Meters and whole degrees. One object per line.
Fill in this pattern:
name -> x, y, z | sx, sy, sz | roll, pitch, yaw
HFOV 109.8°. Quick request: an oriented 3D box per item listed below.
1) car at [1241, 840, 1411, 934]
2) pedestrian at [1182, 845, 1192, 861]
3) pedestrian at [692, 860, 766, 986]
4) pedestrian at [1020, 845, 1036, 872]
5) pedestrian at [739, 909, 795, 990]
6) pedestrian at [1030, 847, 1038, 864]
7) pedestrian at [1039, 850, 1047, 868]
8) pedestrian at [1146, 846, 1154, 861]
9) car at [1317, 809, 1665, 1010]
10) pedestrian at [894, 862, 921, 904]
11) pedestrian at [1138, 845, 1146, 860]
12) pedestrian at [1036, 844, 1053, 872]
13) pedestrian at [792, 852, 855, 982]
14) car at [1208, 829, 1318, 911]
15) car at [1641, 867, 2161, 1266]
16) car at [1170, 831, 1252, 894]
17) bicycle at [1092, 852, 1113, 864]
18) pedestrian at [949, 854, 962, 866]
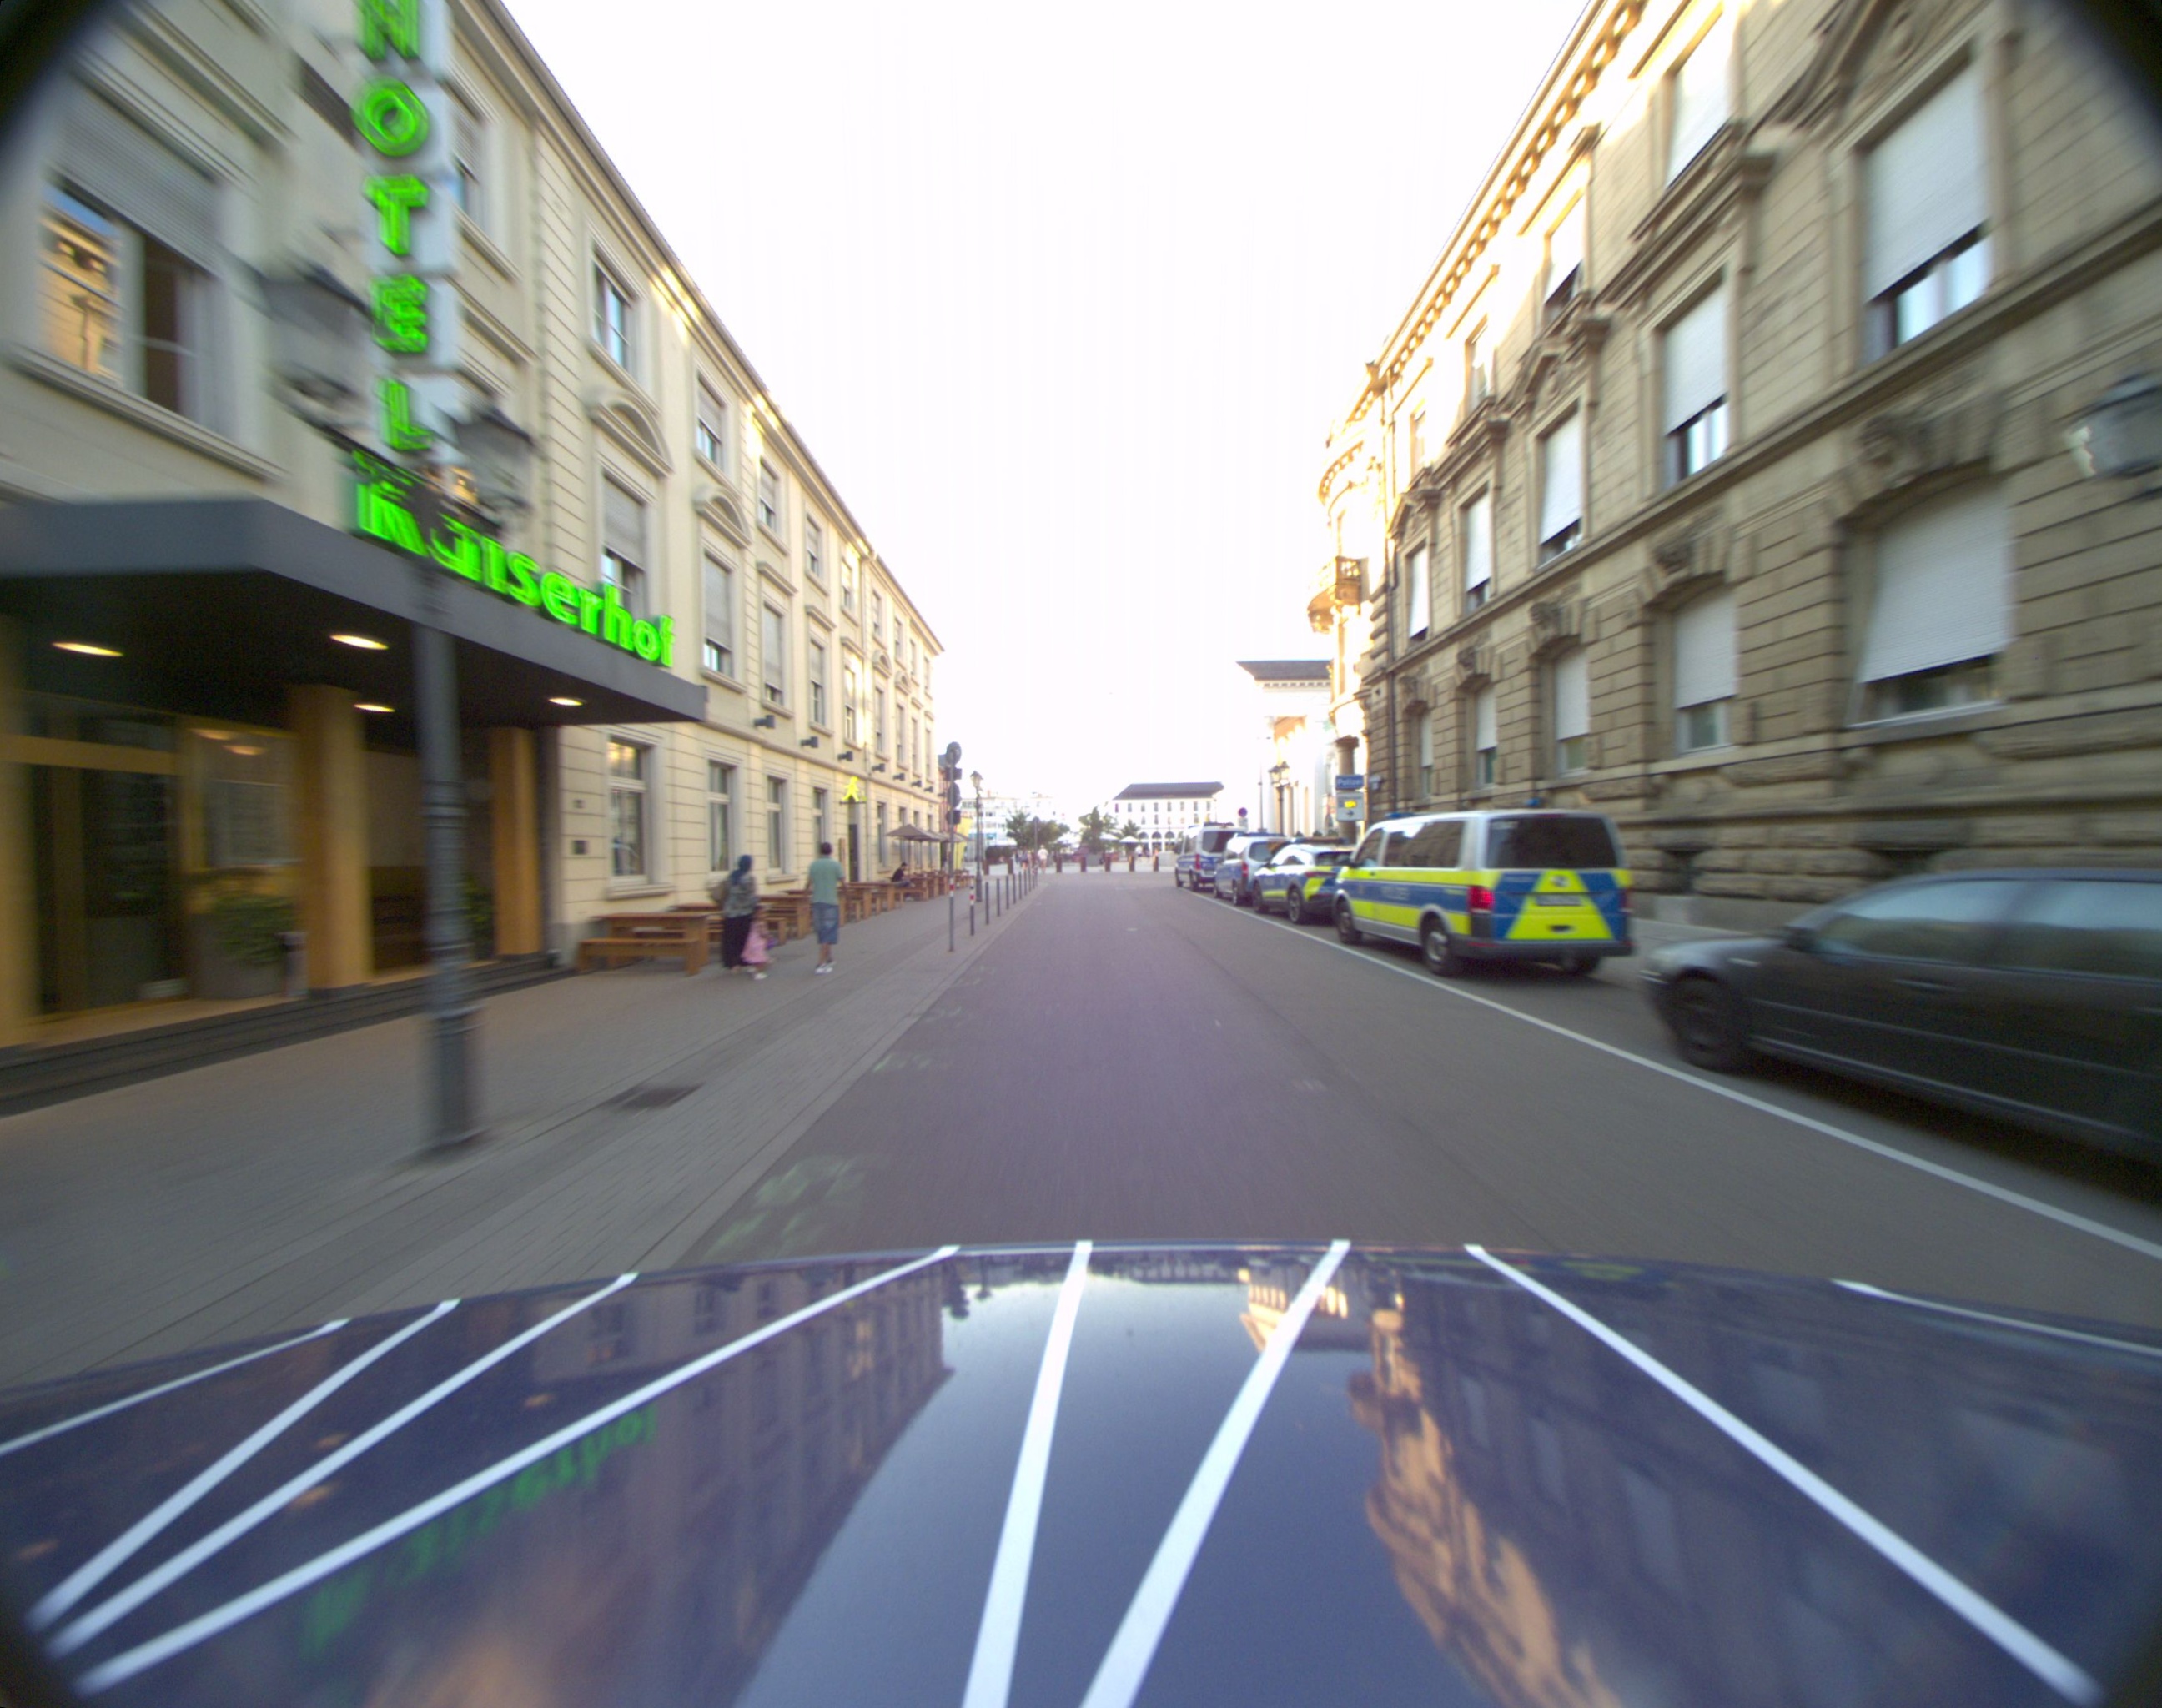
car -> 5.134, 0.590, 16.769 | 1.999, 1.742, 4.988 | -1, 1, -2
pedestrian -> 13.089, -0.092, 94.120 | 1.091, 1.900, 0.881 | -1, 1, 3
pedestrian -> -4.644, 0.891, 10.049 | 0.631, 1.592, 0.615 | -1, 1, 1
pedestrian -> -3.360, 0.276, 48.217 | 0.607, 1.720, 0.719 | 0, 1, 43
pedestrian -> -4.075, 1.234, 9.888 | 0.461, 0.974, 0.558 | -1, 1, 1
pedestrian -> -4.271, 0.134, 69.068 | 0.684, 1.557, 0.652 | -1, 1, -2
pedestrian -> -3.487, 0.446, 69.539 | 0.684, 1.550, 0.652 | -1, 1, -2
pedestrian -> 7.921, -0.061, 86.707 | 0.856, 1.720, 0.881 | -1, 1, 3
car -> 5.043, 0.528, 10.393 | 1.999, 2.065, 4.988 | -1, 1, -1
pedestrian -> -5.756, 0.939, 25.184 | 0.777, 1.351, 0.723 | -1, 1, -16
pedestrian -> 6.970, -0.178, 87.423 | 0.856, 1.720, 0.881 | -1, 1, 3
pedestrian -> -2.315, 0.247, 48.356 | 0.667, 1.720, 0.767 | 0, 1, 43
pedestrian -> -3.500, 0.841, 10.370 | 0.608, 1.720, 0.558 | -1, 1, 1
car -> 5.124, 0.377, 22.167 | 1.998, 2.075, 5.206 | -1, 1, 1
car -> 5.335, 0.885, 3.821 | 1.998, 1.486, 4.164 | -1, 1, 1
car -> 4.854, 0.275, 29.157 | 1.999, 2.159, 5.205 | -1, 1, -2
bicycle -> 2.030, 0.371, 71.681 | 1.683, 1.115, 0.846 | -1, 1, 34
pedestrian -> -13.887, 0.643, 84.026 | 1.405, 1.255, 1.326 | -1, 1, -13
